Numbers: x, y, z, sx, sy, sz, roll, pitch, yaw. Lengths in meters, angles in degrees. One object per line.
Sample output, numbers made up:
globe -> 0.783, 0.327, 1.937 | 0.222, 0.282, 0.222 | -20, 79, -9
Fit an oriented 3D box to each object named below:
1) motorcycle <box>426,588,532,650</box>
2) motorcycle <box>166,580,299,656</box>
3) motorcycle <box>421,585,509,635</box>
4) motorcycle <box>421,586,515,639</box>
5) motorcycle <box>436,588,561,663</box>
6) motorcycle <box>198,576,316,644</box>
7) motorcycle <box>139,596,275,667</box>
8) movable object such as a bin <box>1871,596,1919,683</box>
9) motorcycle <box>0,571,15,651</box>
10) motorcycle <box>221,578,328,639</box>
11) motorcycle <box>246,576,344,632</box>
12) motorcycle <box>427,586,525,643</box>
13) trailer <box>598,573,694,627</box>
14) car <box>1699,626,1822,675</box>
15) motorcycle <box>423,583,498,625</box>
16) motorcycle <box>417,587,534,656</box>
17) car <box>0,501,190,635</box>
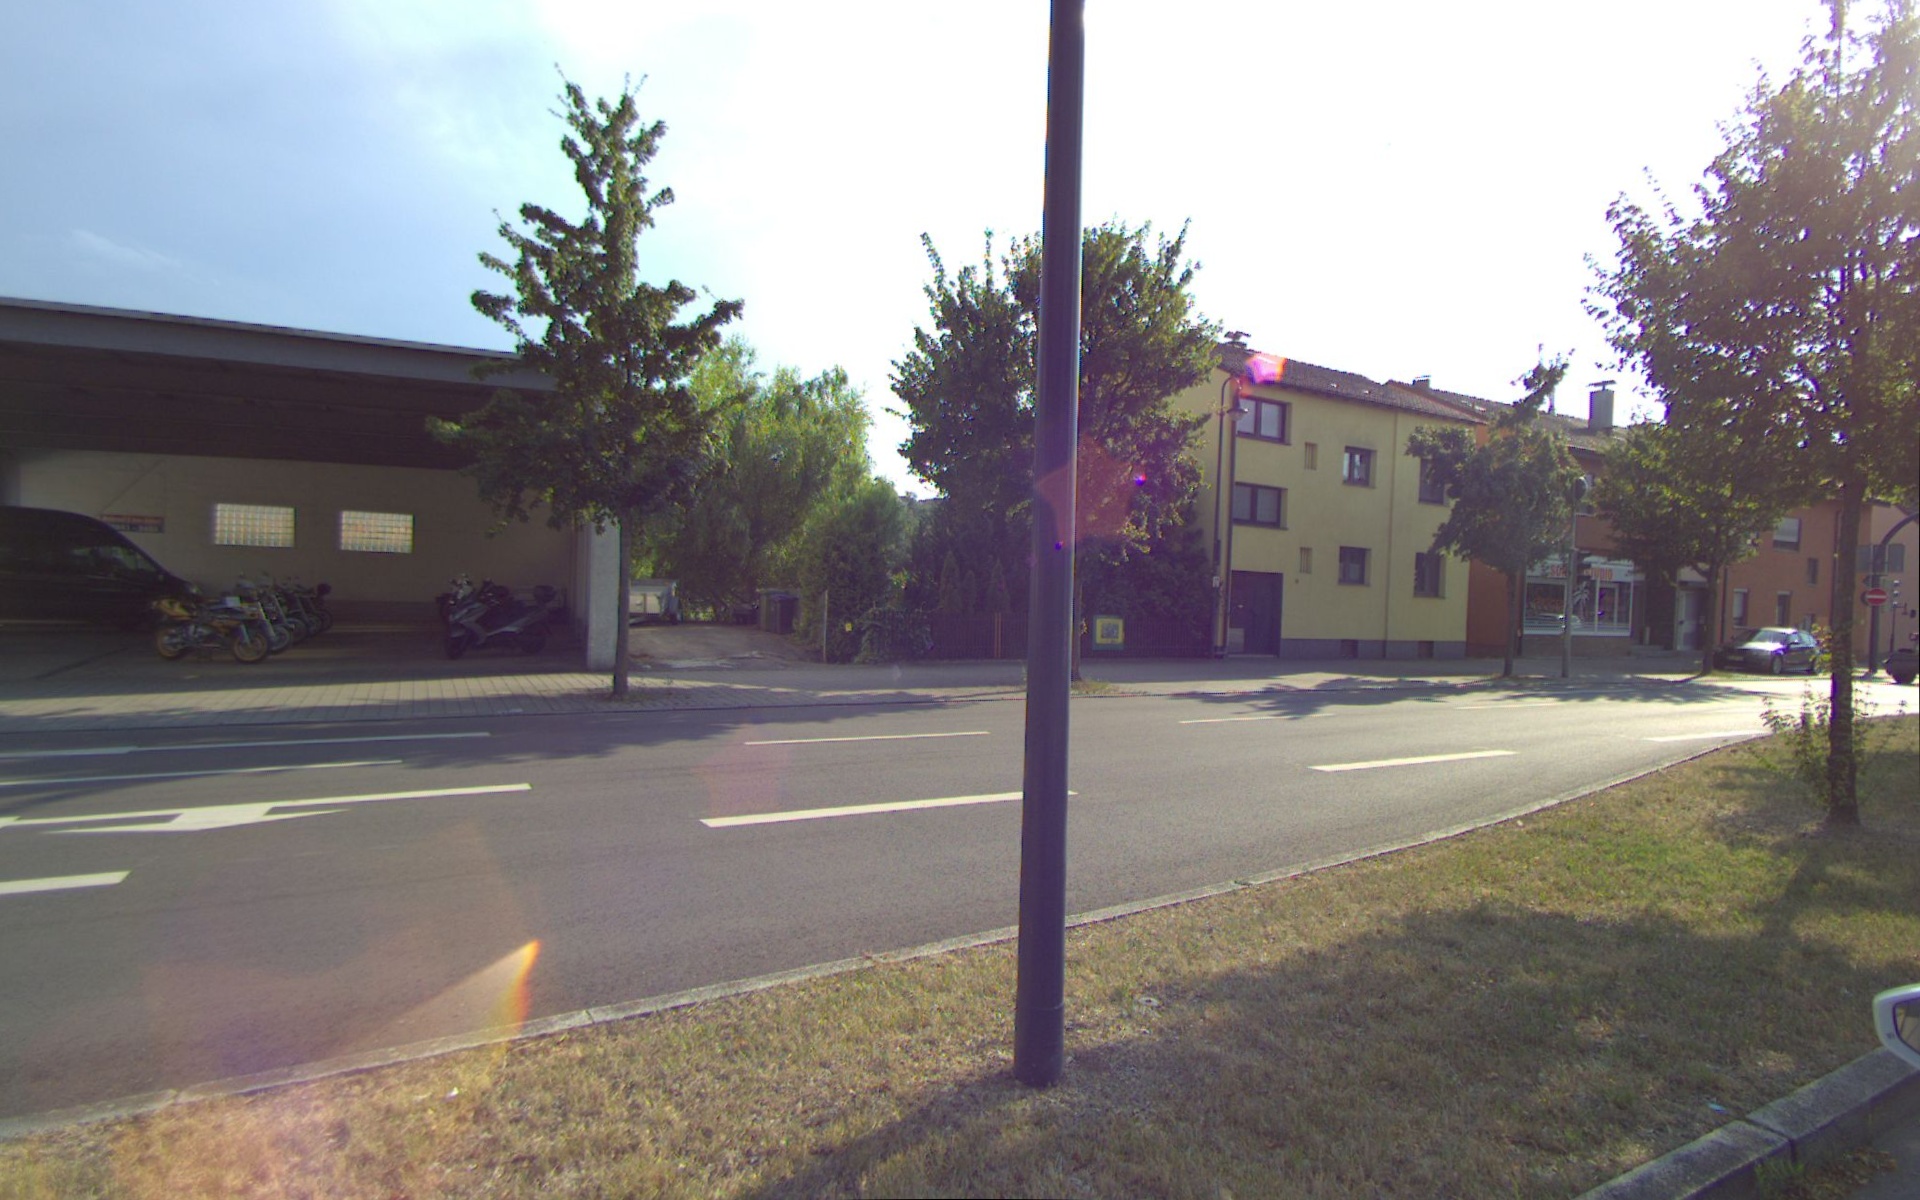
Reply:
motorcycle -> -10.755, 0.389, 22.529 | 0.621, 1.314, 2.113 | 1, 2, 36
motorcycle -> -13.645, 0.323, 18.855 | 2.219, 1.354, 0.631 | 1, 0, 10
motorcycle -> -13.525, 0.247, 27.511 | 0.621, 1.314, 2.113 | 1, 2, 36
motorcycle -> -12.661, 0.298, 25.913 | 0.621, 1.314, 2.113 | 1, 2, 36
motorcycle -> -8.632, 0.434, 18.890 | 0.621, 1.314, 2.113 | 1, 2, 36
motorcycle -> -14.766, 0.210, 21.098 | 2.219, 1.354, 0.631 | 1, 0, 10
motorcycle -> -12.509, 0.507, 16.690 | 1.993, 1.101, 0.631 | 1, 0, 12
movable object such as a bin -> 29.124, 1.189, 29.872 | 4.396, 2.474, 1.729 | 2, -1, -29
motorcycle -> -17.300, 0.173, 16.718 | 0.619, 1.380, 2.225 | 1, 0, 24
motorcycle -> -15.897, 0.187, 23.307 | 2.219, 1.354, 0.631 | 1, 0, 10
motorcycle -> -16.921, 0.109, 25.566 | 2.219, 1.354, 0.631 | 1, 0, 10
motorcycle -> -11.779, 0.317, 24.530 | 0.621, 1.314, 2.113 | 1, 2, 36
trailer -> -8.229, -0.001, 26.610 | 1.698, 1.280, 3.995 | 1, 0, -7
car -> 25.957, 1.599, 32.544 | 3.953, 1.319, 1.728 | 1, 4, -30
motorcycle -> -15.971, 0.109, 32.170 | 0.621, 1.314, 2.113 | 1, 2, 36
motorcycle -> -9.825, 0.406, 20.452 | 0.621, 1.314, 2.113 | 1, 2, 36
car -> -20.465, -0.676, 22.085 | 1.962, 2.789, 5.280 | 1, 0, 26
